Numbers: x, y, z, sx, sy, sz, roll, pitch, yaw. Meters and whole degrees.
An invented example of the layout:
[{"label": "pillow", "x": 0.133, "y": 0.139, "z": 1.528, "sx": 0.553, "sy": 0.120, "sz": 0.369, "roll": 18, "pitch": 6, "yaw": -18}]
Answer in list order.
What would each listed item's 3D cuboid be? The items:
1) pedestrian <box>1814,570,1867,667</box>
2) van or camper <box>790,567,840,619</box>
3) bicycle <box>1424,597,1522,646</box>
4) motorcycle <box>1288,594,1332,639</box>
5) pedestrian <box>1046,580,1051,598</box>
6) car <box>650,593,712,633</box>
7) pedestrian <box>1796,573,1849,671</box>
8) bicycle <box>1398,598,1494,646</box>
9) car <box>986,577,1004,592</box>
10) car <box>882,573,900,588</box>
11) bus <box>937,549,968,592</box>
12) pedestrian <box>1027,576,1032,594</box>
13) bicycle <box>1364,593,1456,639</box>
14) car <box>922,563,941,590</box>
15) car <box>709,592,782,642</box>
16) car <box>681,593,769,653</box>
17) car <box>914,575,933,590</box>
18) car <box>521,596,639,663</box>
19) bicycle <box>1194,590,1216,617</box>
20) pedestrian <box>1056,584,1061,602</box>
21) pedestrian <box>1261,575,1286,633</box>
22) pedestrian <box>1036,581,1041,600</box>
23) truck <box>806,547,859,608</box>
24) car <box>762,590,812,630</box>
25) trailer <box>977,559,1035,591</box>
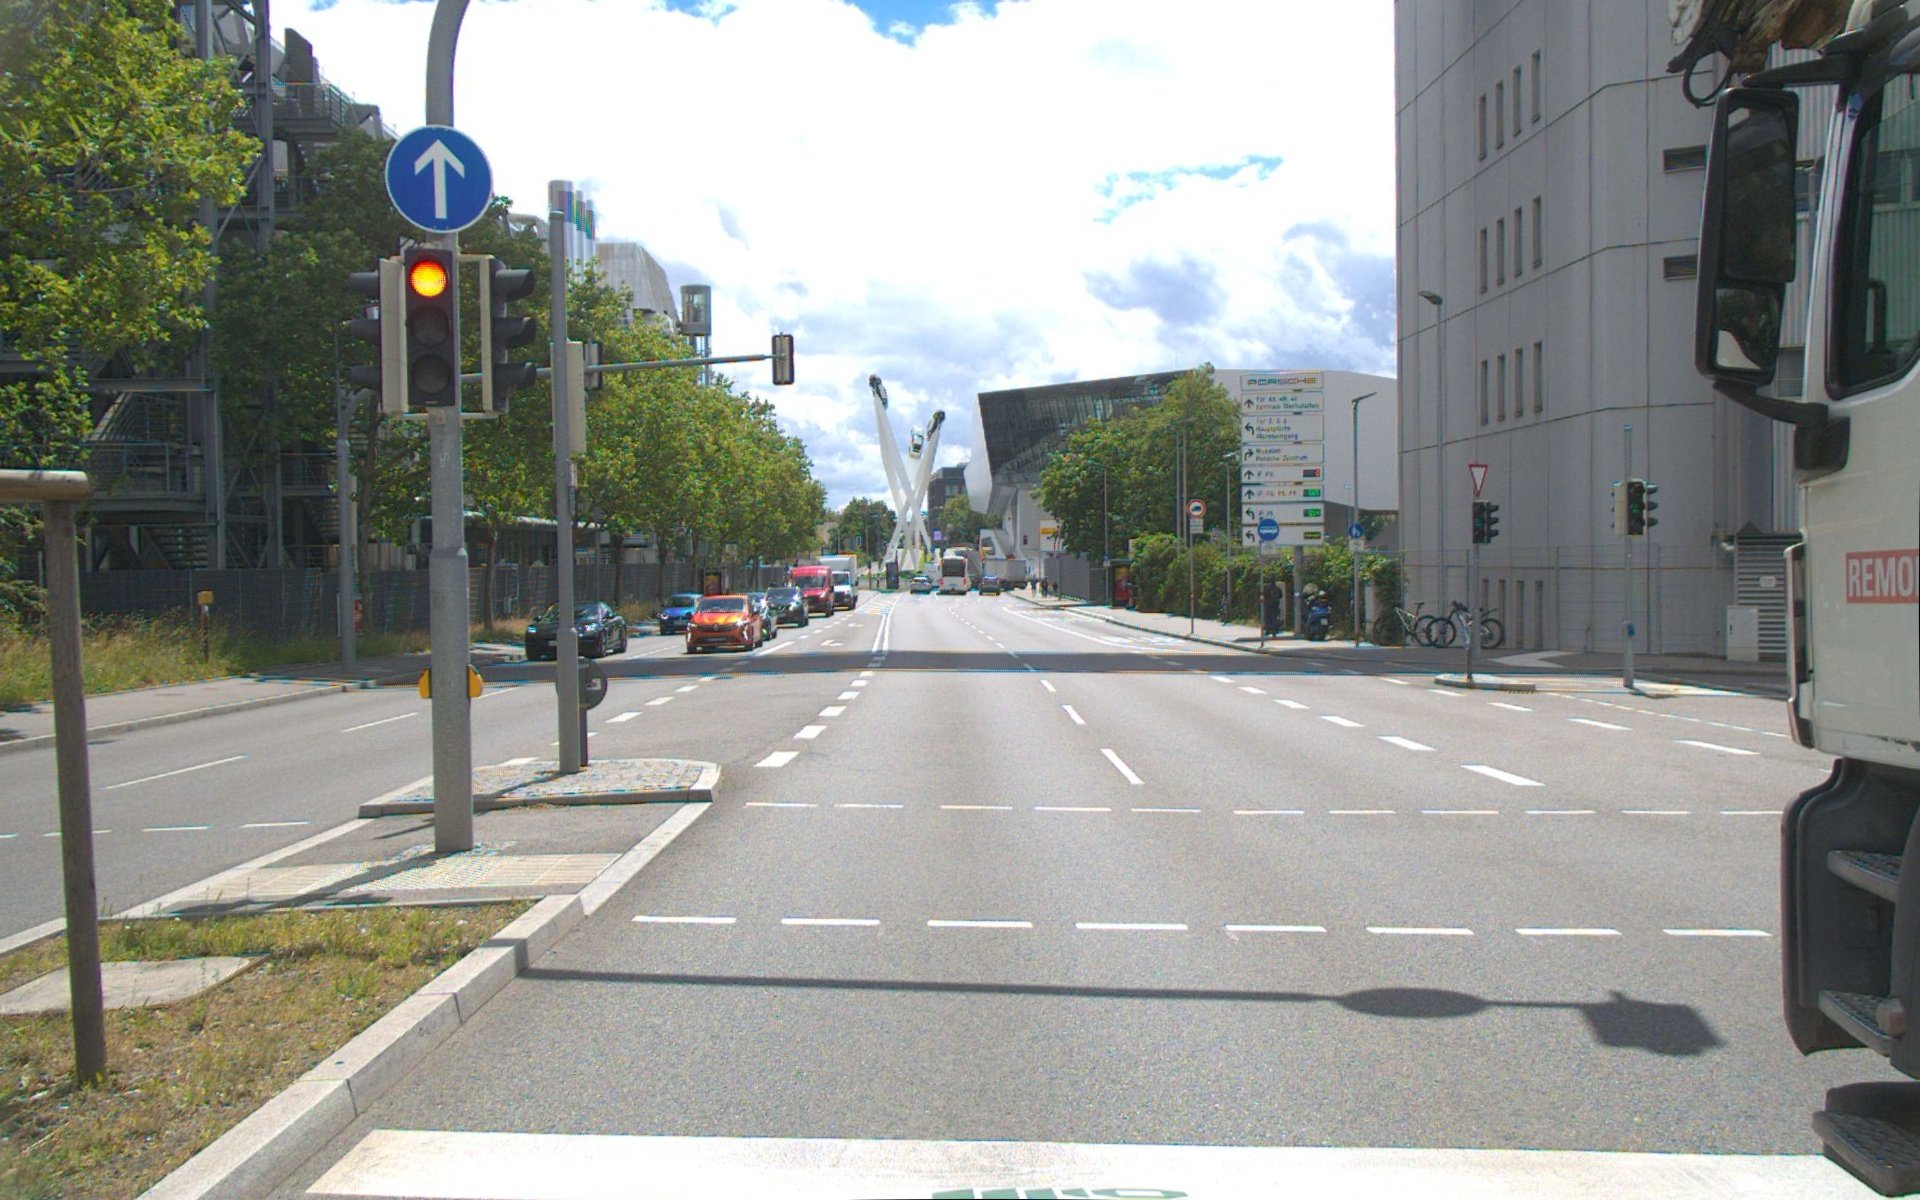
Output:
[{"label": "pedestrian", "x": 17.155, "y": 0.356, "z": 32.233, "sx": 0.694, "sy": 1.825, "sz": 0.694, "roll": -3, "pitch": 1, "yaw": 15}, {"label": "van or camper", "x": -7.239, "y": -0.353, "z": 82.874, "sx": 2.005, "sy": 2.509, "sz": 5.594, "roll": 0, "pitch": 0, "yaw": 0}, {"label": "bicycle", "x": 12.067, "y": 0.493, "z": 38.938, "sx": 2.149, "sy": 1.105, "sz": 0.475, "roll": 1, "pitch": -1, "yaw": 35}, {"label": "motorcycle", "x": 9.546, "y": 0.449, "z": 45.157, "sx": 0.410, "sy": 1.186, "sz": 1.951, "roll": 1, "pitch": 0, "yaw": -11}, {"label": "pedestrian", "x": 6.959, "y": -0.873, "z": 130.173, "sx": 0.378, "sy": 1.446, "sz": 0.423, "roll": 1, "pitch": -1, "yaw": 0}, {"label": "car", "x": -10.552, "y": 0.466, "z": 62.793, "sx": 1.692, "sy": 1.406, "sz": 3.701, "roll": -2, "pitch": 0, "yaw": 0}, {"label": "pedestrian", "x": 16.498, "y": 0.413, "z": 31.663, "sx": 0.694, "sy": 1.825, "sz": 0.643, "roll": -3, "pitch": 1, "yaw": 13}, {"label": "bicycle", "x": 11.670, "y": 0.526, "z": 39.772, "sx": 2.180, "sy": 1.105, "sz": 0.475, "roll": 1, "pitch": -1, "yaw": 35}, {"label": "car", "x": 3.109, "y": -1.382, "z": 146.113, "sx": 1.525, "sy": 1.295, "sz": 3.701, "roll": -2, "pitch": 0, "yaw": 1}, {"label": "car", "x": -6.481, "y": -1.850, "z": 155.585, "sx": 1.525, "sy": 1.295, "sz": 3.701, "roll": -2, "pitch": 0, "yaw": 0}, {"label": "bus", "x": -0.684, "y": -2.622, "z": 150.196, "sx": 2.730, "sy": 3.750, "sz": 6.942, "roll": 1, "pitch": 0, "yaw": 0}, {"label": "pedestrian", "x": 5.663, "y": -1.234, "z": 134.045, "sx": 0.378, "sy": 1.446, "sz": 0.423, "roll": 1, "pitch": -1, "yaw": 0}, {"label": "bicycle", "x": 11.151, "y": 0.383, "z": 41.027, "sx": 2.180, "sy": 1.105, "sz": 0.475, "roll": 1, "pitch": -1, "yaw": 35}, {"label": "car", "x": -2.952, "y": -2.434, "z": 171.158, "sx": 1.805, "sy": 2.669, "sz": 4.001, "roll": 1, "pitch": 0, "yaw": 1}, {"label": "car", "x": -6.686, "y": 0.507, "z": 51.910, "sx": 1.733, "sy": 1.445, "sz": 3.701, "roll": -2, "pitch": 0, "yaw": 0}, {"label": "car", "x": -6.161, "y": 0.571, "z": 43.645, "sx": 1.733, "sy": 1.445, "sz": 3.701, "roll": -2, "pitch": 0, "yaw": 0}, {"label": "car", "x": -3.312, "y": -1.566, "z": 148.701, "sx": 1.525, "sy": 1.295, "sz": 3.701, "roll": -2, "pitch": 0, "yaw": 1}, {"label": "car", "x": -9.740, "y": 0.706, "z": 42.742, "sx": 1.878, "sy": 1.514, "sz": 4.772, "roll": -2, "pitch": 0, "yaw": 0}, {"label": "bicycle", "x": 9.670, "y": 0.153, "z": 65.404, "sx": 0.410, "sy": 1.040, "sz": 1.910, "roll": 1, "pitch": 0, "yaw": -5}, {"label": "pedestrian", "x": 7.982, "y": -0.535, "z": 133.899, "sx": 0.378, "sy": 1.446, "sz": 0.423, "roll": 1, "pitch": -1, "yaw": 0}, {"label": "pedestrian", "x": 9.087, "y": 0.122, "z": 48.013, "sx": 0.523, "sy": 1.669, "sz": 0.657, "roll": 1, "pitch": -1, "yaw": -6}, {"label": "pedestrian", "x": 6.203, "y": -0.758, "z": 130.238, "sx": 0.378, "sy": 1.446, "sz": 0.423, "roll": 1, "pitch": -1, "yaw": 0}, {"label": "truck", "x": -7.392, "y": -1.275, "z": 96.571, "sx": 2.538, "sy": 3.382, "sz": 7.078, "roll": 1, "pitch": 0, "yaw": 0}, {"label": "car", "x": -6.877, "y": 0.368, "z": 66.034, "sx": 1.525, "sy": 1.473, "sz": 3.772, "roll": -2, "pitch": 0, "yaw": 0}, {"label": "trailer", "x": 4.872, "y": -2.545, "z": 172.255, "sx": 3.250, "sy": 3.047, "sz": 10.380, "roll": 1, "pitch": 0, "yaw": 18}]
